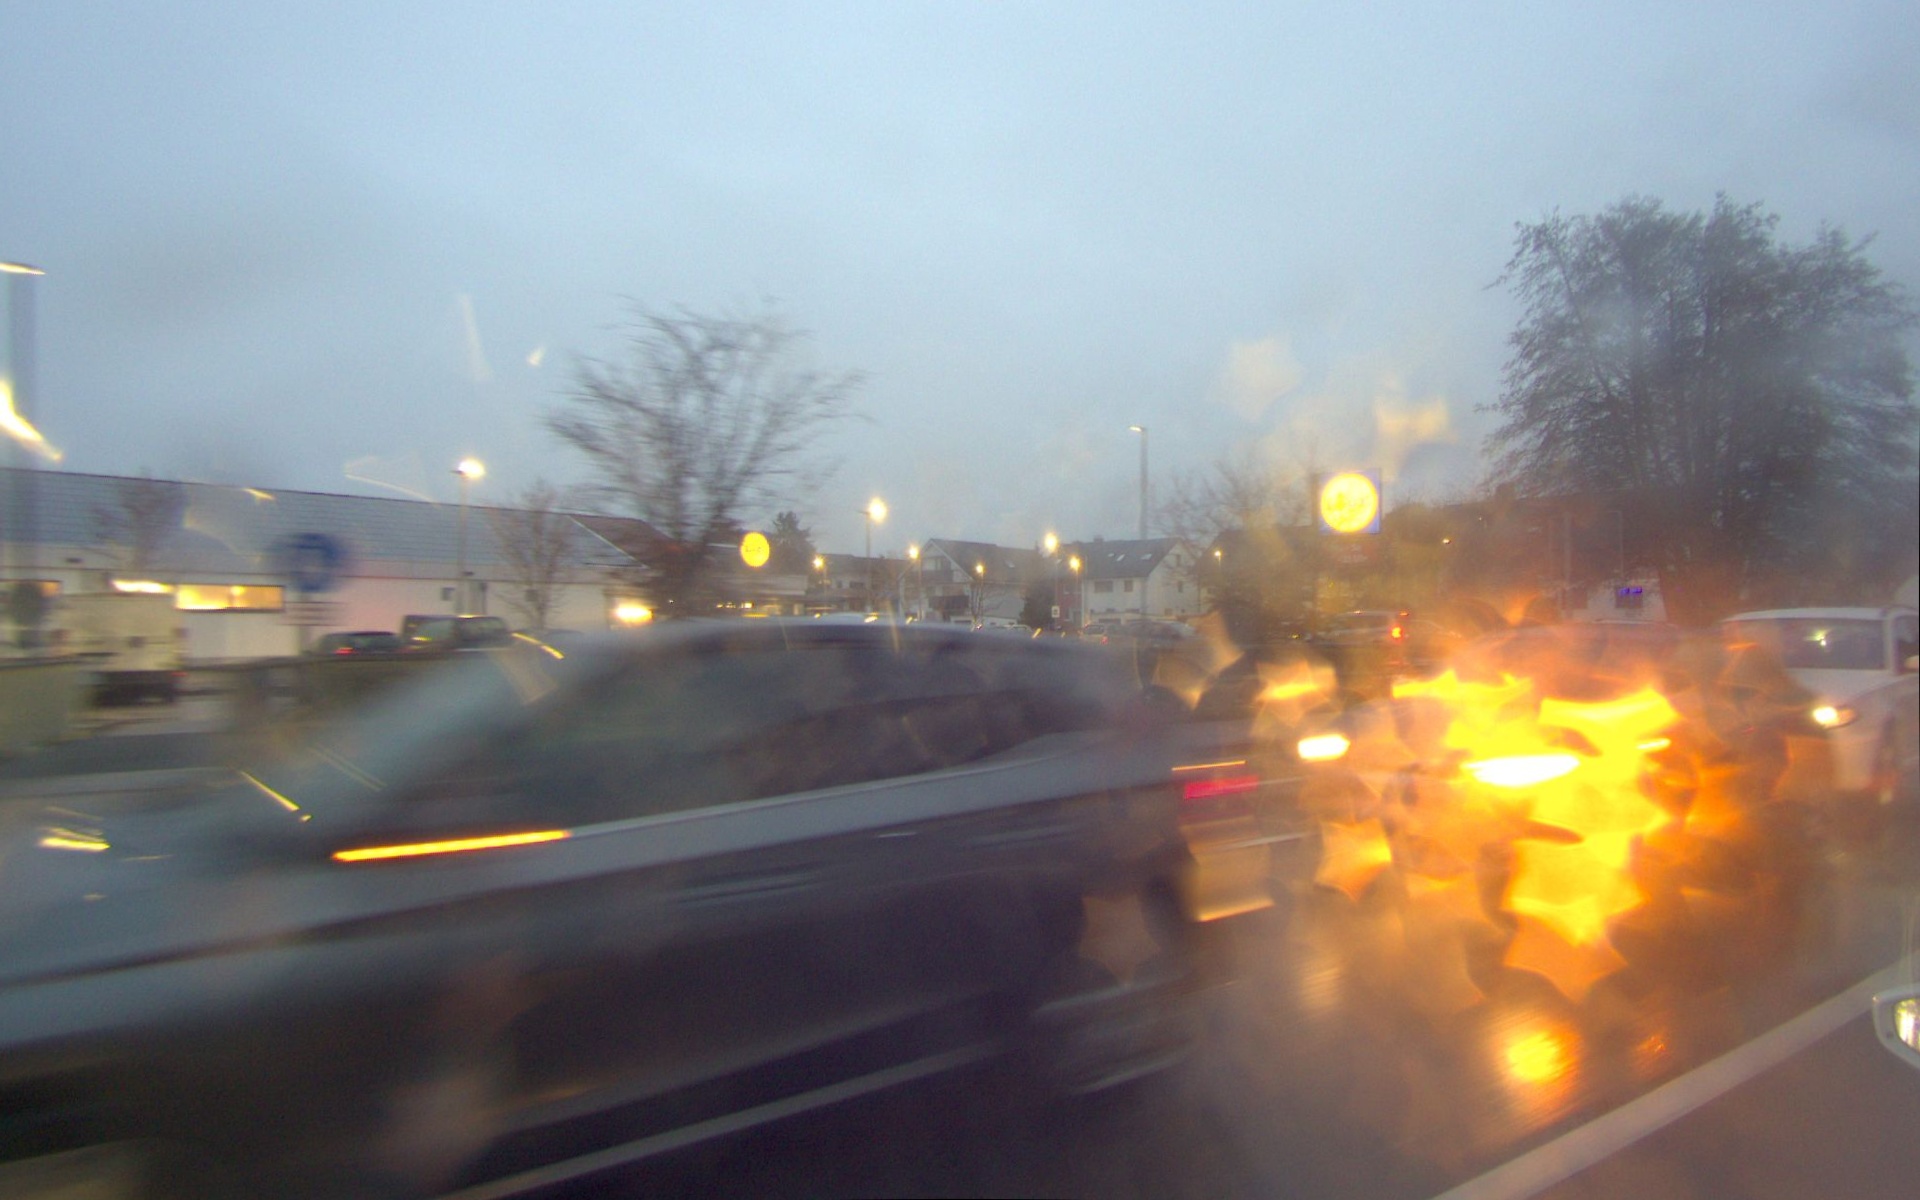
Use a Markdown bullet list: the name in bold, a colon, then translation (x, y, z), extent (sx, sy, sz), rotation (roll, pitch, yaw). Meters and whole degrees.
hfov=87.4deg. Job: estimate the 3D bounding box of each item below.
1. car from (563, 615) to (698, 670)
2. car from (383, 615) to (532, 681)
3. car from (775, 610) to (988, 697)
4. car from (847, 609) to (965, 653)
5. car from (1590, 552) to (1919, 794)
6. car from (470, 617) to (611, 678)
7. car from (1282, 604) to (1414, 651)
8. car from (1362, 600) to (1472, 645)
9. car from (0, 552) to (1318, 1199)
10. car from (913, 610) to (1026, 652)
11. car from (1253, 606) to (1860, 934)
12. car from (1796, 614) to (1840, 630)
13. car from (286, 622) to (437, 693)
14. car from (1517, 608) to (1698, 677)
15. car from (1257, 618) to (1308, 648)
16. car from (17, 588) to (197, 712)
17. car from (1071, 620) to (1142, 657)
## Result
- **car**: translation (-10.297, 1.338, 31.271), extent (4.381, 1.584, 2.045), rotation (-3, -2, 41)
- **car**: translation (-13.403, 1.272, 26.702), extent (4.381, 1.584, 2.045), rotation (-3, -2, 41)
- **car**: translation (-1.839, 1.128, 22.429), extent (4.715, 1.734, 2.023), rotation (-1, -1, 41)
- **car**: translation (-2.149, 1.227, 39.180), extent (4.381, 1.584, 2.045), rotation (-3, -2, 41)
- **car**: translation (7.736, 0.555, 9.240), extent (4.378, 1.746, 1.760), rotation (0, -1, -36)
- **car**: translation (-12.172, 1.383, 29.011), extent (4.381, 1.584, 2.045), rotation (-3, -2, 41)
- **car**: translation (14.899, 1.038, 38.714), extent (4.355, 1.694, 1.959), rotation (-1, 0, 40)
- **car**: translation (22.346, 1.062, 49.148), extent (4.585, 2.003, 2.120), rotation (1, 1, 36)
- **car**: translation (-0.962, 0.704, 2.973), extent (3.952, 1.506, 1.655), rotation (1, -1, -30)
- **car**: translation (0.351, 1.310, 41.623), extent (4.381, 1.584, 2.045), rotation (-3, -2, 41)
- **car**: translation (3.944, 0.814, 6.481), extent (3.997, 1.515, 1.762), rotation (0, -1, -32)
- **car**: translation (115.808, 2.980, 135.613), extent (4.189, 2.040, 1.805), rotation (-2, -2, 34)
- **car**: translation (-15.179, 1.437, 25.394), extent (4.381, 1.584, 2.045), rotation (-3, -2, 41)
- **car**: translation (18.581, 1.160, 28.927), extent (4.174, 1.722, 1.891), rotation (2, 1, 39)
- **car**: translation (20.373, 2.064, 63.343), extent (1.675, 1.662, 3.689), rotation (3, 2, 42)
- **car**: translation (-18.256, 1.047, 21.401), extent (5.128, 2.312, 2.207), rotation (-3, -2, 41)
- **car**: translation (7.483, 1.913, 51.057), extent (1.888, 1.639, 3.983), rotation (1, 1, 38)
